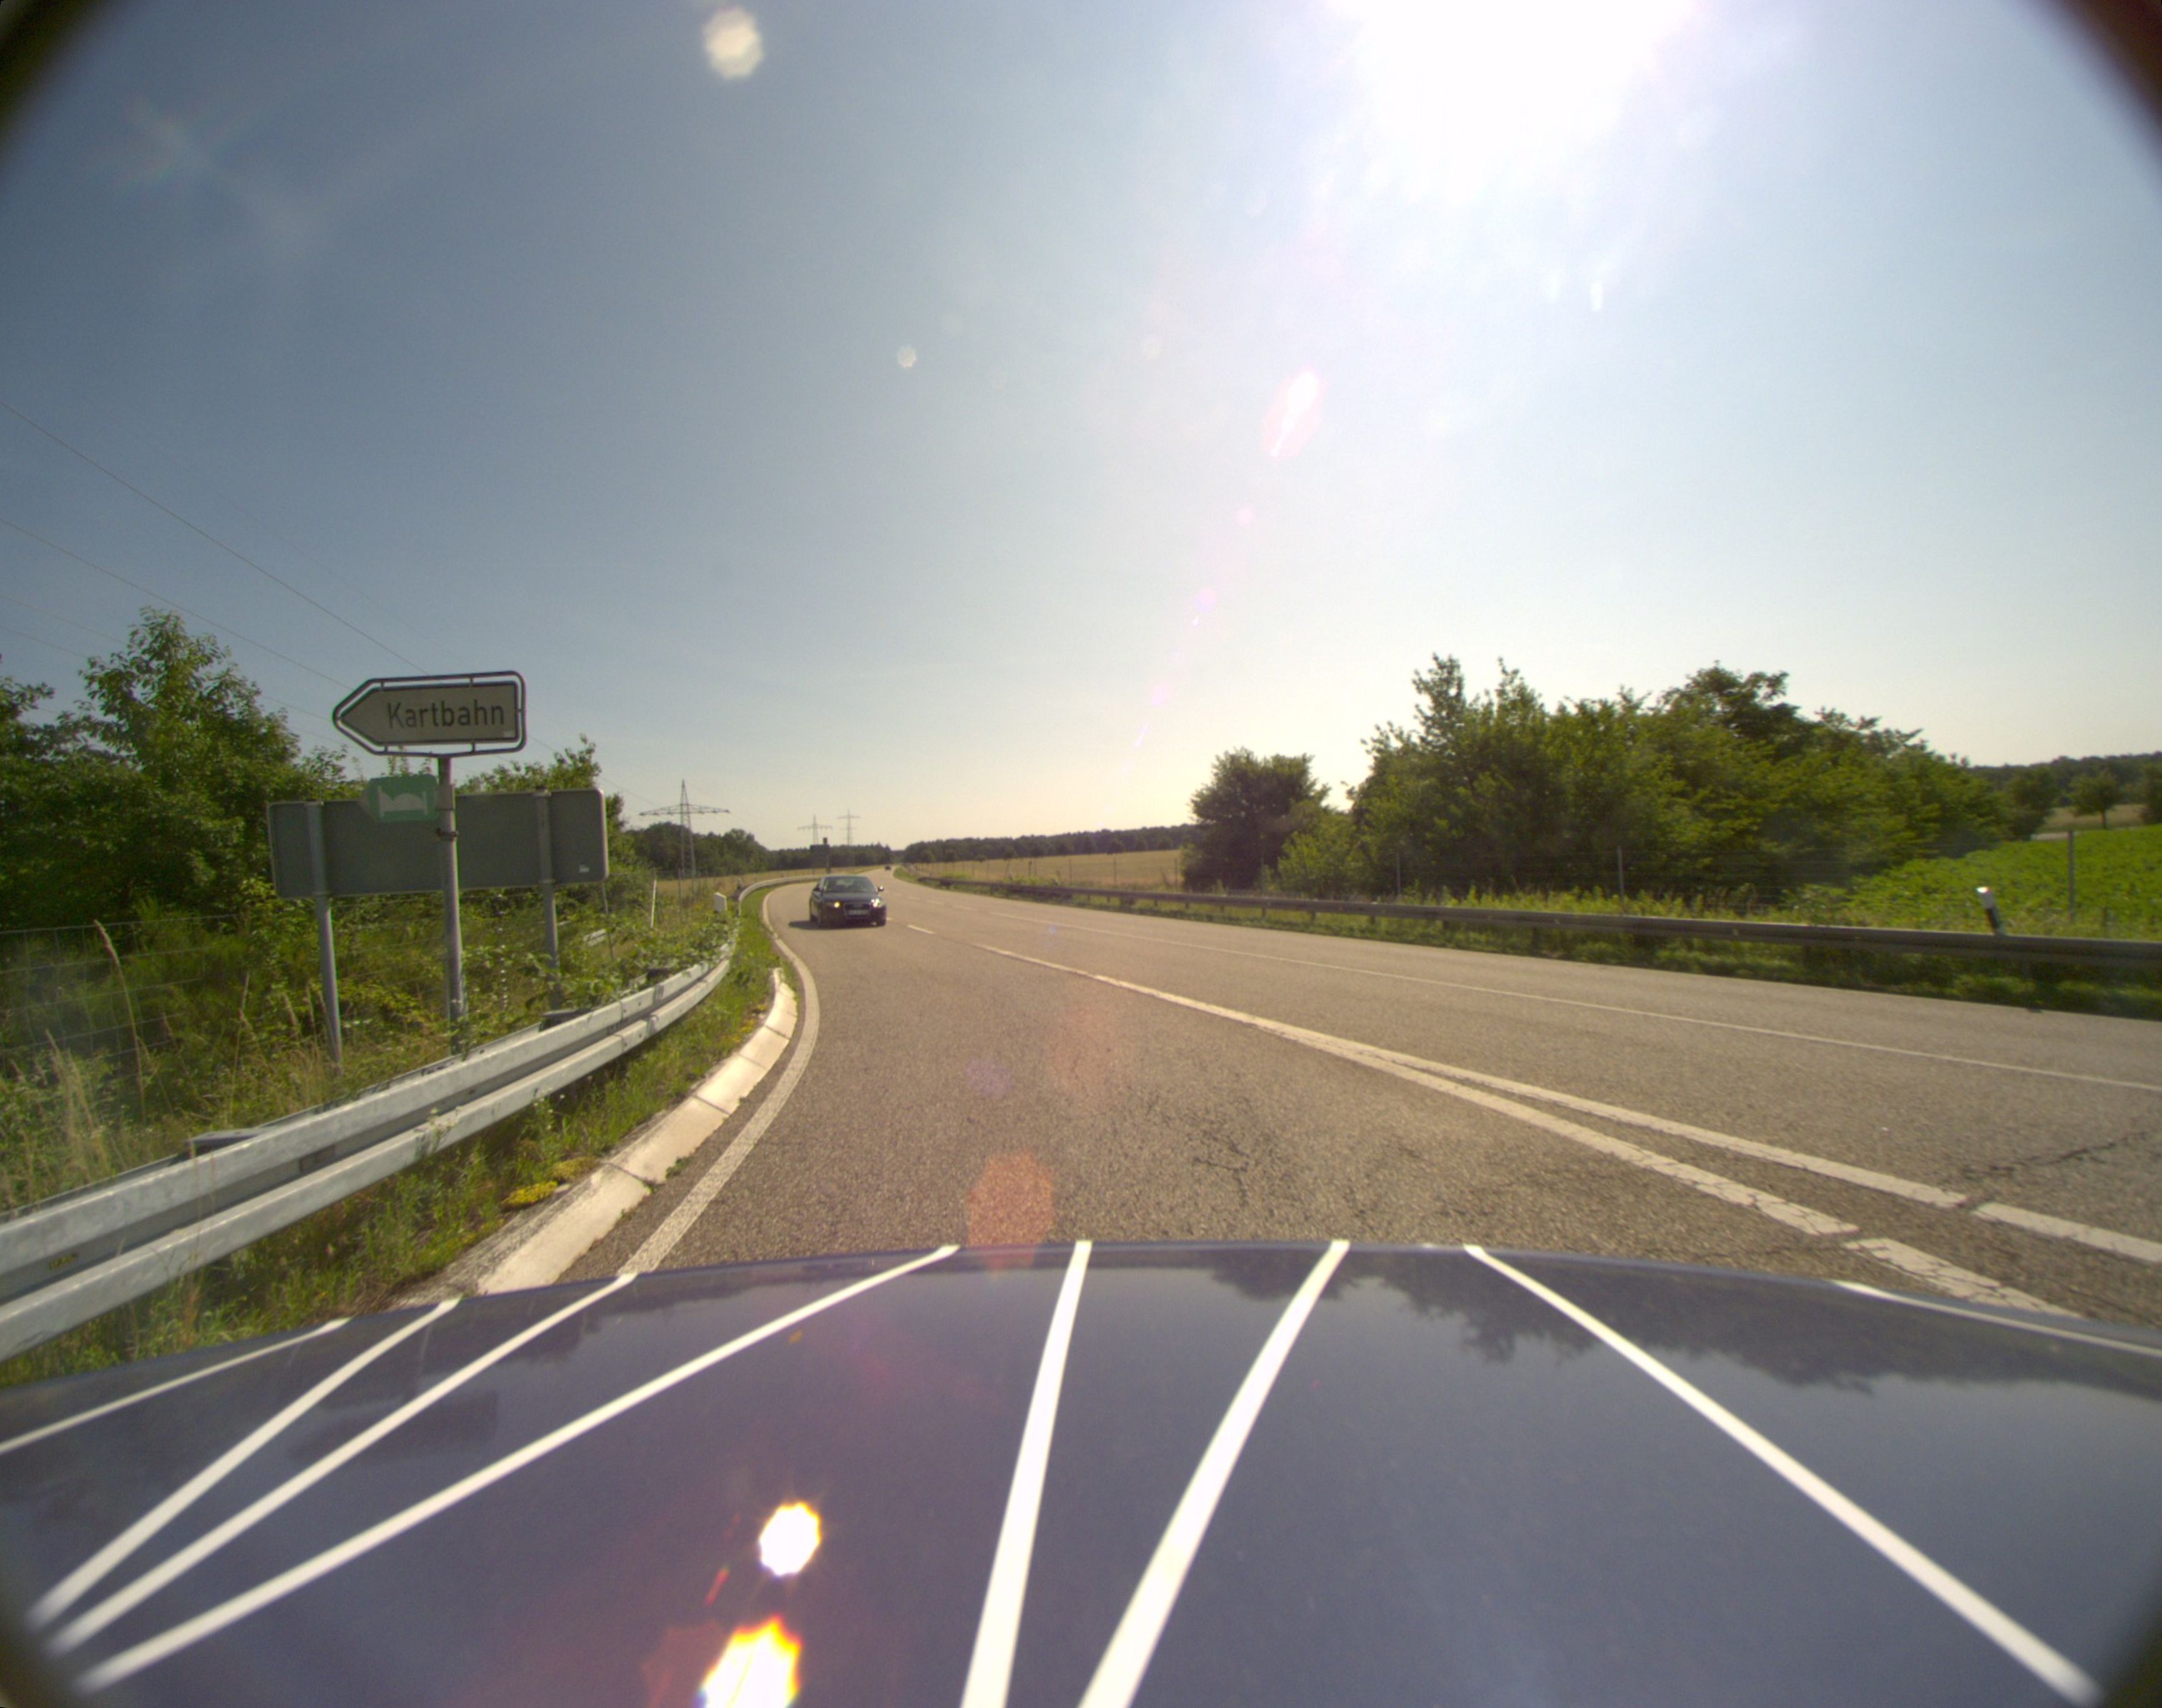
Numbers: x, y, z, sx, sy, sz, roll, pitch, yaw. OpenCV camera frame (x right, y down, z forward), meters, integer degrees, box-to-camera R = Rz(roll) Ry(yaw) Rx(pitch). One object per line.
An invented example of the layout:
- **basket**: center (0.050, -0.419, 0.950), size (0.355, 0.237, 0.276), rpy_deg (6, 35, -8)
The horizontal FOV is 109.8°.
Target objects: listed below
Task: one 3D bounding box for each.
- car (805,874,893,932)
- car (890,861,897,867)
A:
- **car**: center (-6.656, 1.300, 21.511), size (1.890, 1.448, 4.068), rpy_deg (0, -1, -24)
- **car**: center (-54.882, 2.948, 222.012), size (1.836, 1.499, 4.155), rpy_deg (0, 0, -17)
